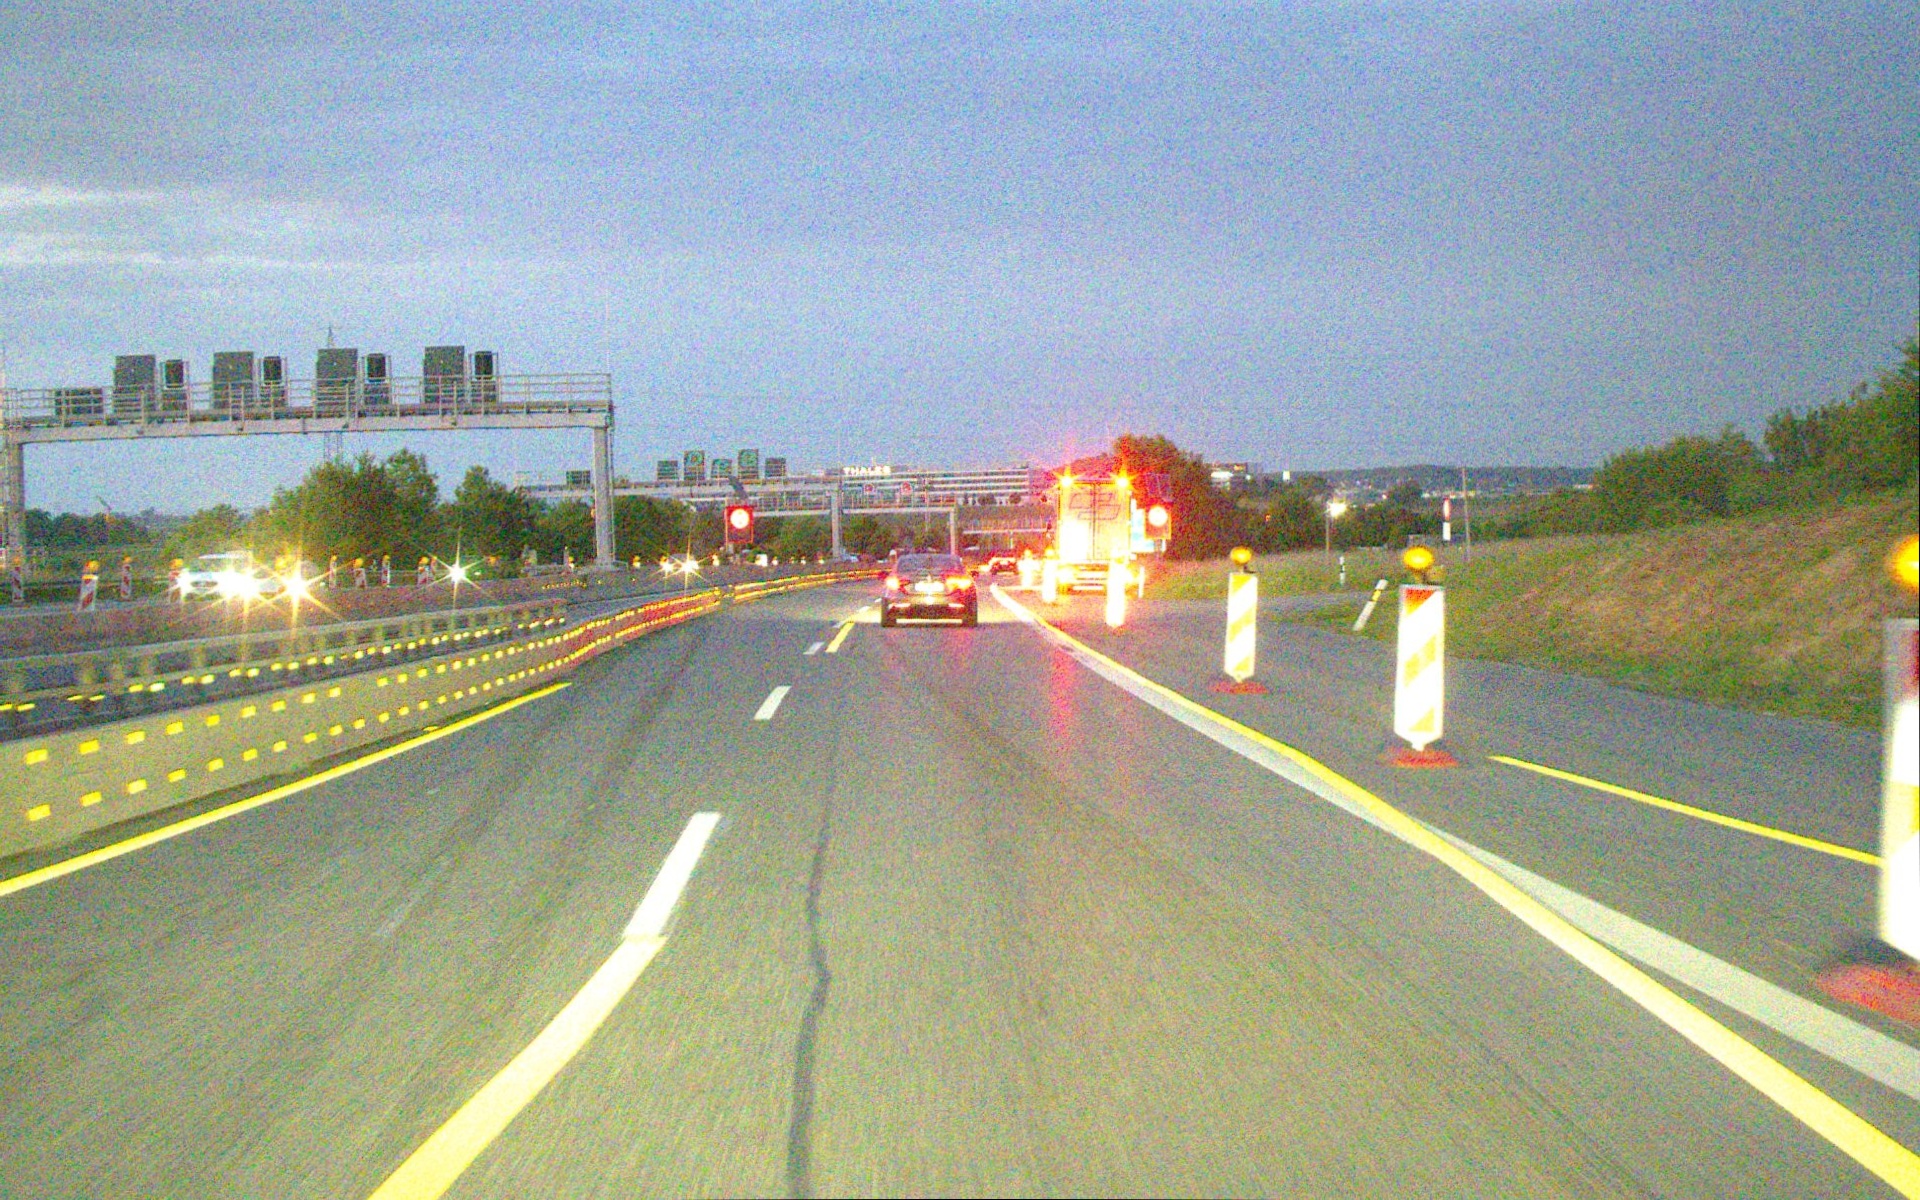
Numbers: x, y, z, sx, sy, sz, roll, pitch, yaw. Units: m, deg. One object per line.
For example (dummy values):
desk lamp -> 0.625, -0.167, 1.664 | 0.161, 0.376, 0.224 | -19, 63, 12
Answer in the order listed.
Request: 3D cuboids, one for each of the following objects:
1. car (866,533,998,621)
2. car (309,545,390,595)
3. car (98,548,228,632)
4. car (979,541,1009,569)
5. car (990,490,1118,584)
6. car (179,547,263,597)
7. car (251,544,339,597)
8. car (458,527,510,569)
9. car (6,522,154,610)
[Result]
car -> -0.589, -0.467, 67.393 | 2.265, 1.616, 4.001 | 1, 1, -5
car -> -18.320, -0.915, 103.337 | 1.746, 1.448, 4.000 | 0, 1, -1
car -> -17.940, -0.253, 77.565 | 1.993, 1.821, 4.000 | 1, 1, 0
car -> 2.440, -3.261, 248.068 | 1.993, 2.007, 4.000 | 1, 1, -1
car -> 3.468, -2.353, 128.961 | 3.604, 3.384, 8.016 | 1, 1, -7
car -> -22.070, -0.861, 102.794 | 1.575, 1.425, 4.425 | 1, 1, 0
car -> -18.766, -0.843, 97.207 | 1.746, 1.448, 4.000 | 0, 1, -1
car -> -23.183, -2.546, 167.580 | 1.993, 2.007, 4.000 | 0, 1, -1
car -> -17.973, -0.702, 70.366 | 1.993, 1.708, 4.000 | 1, 1, 0
